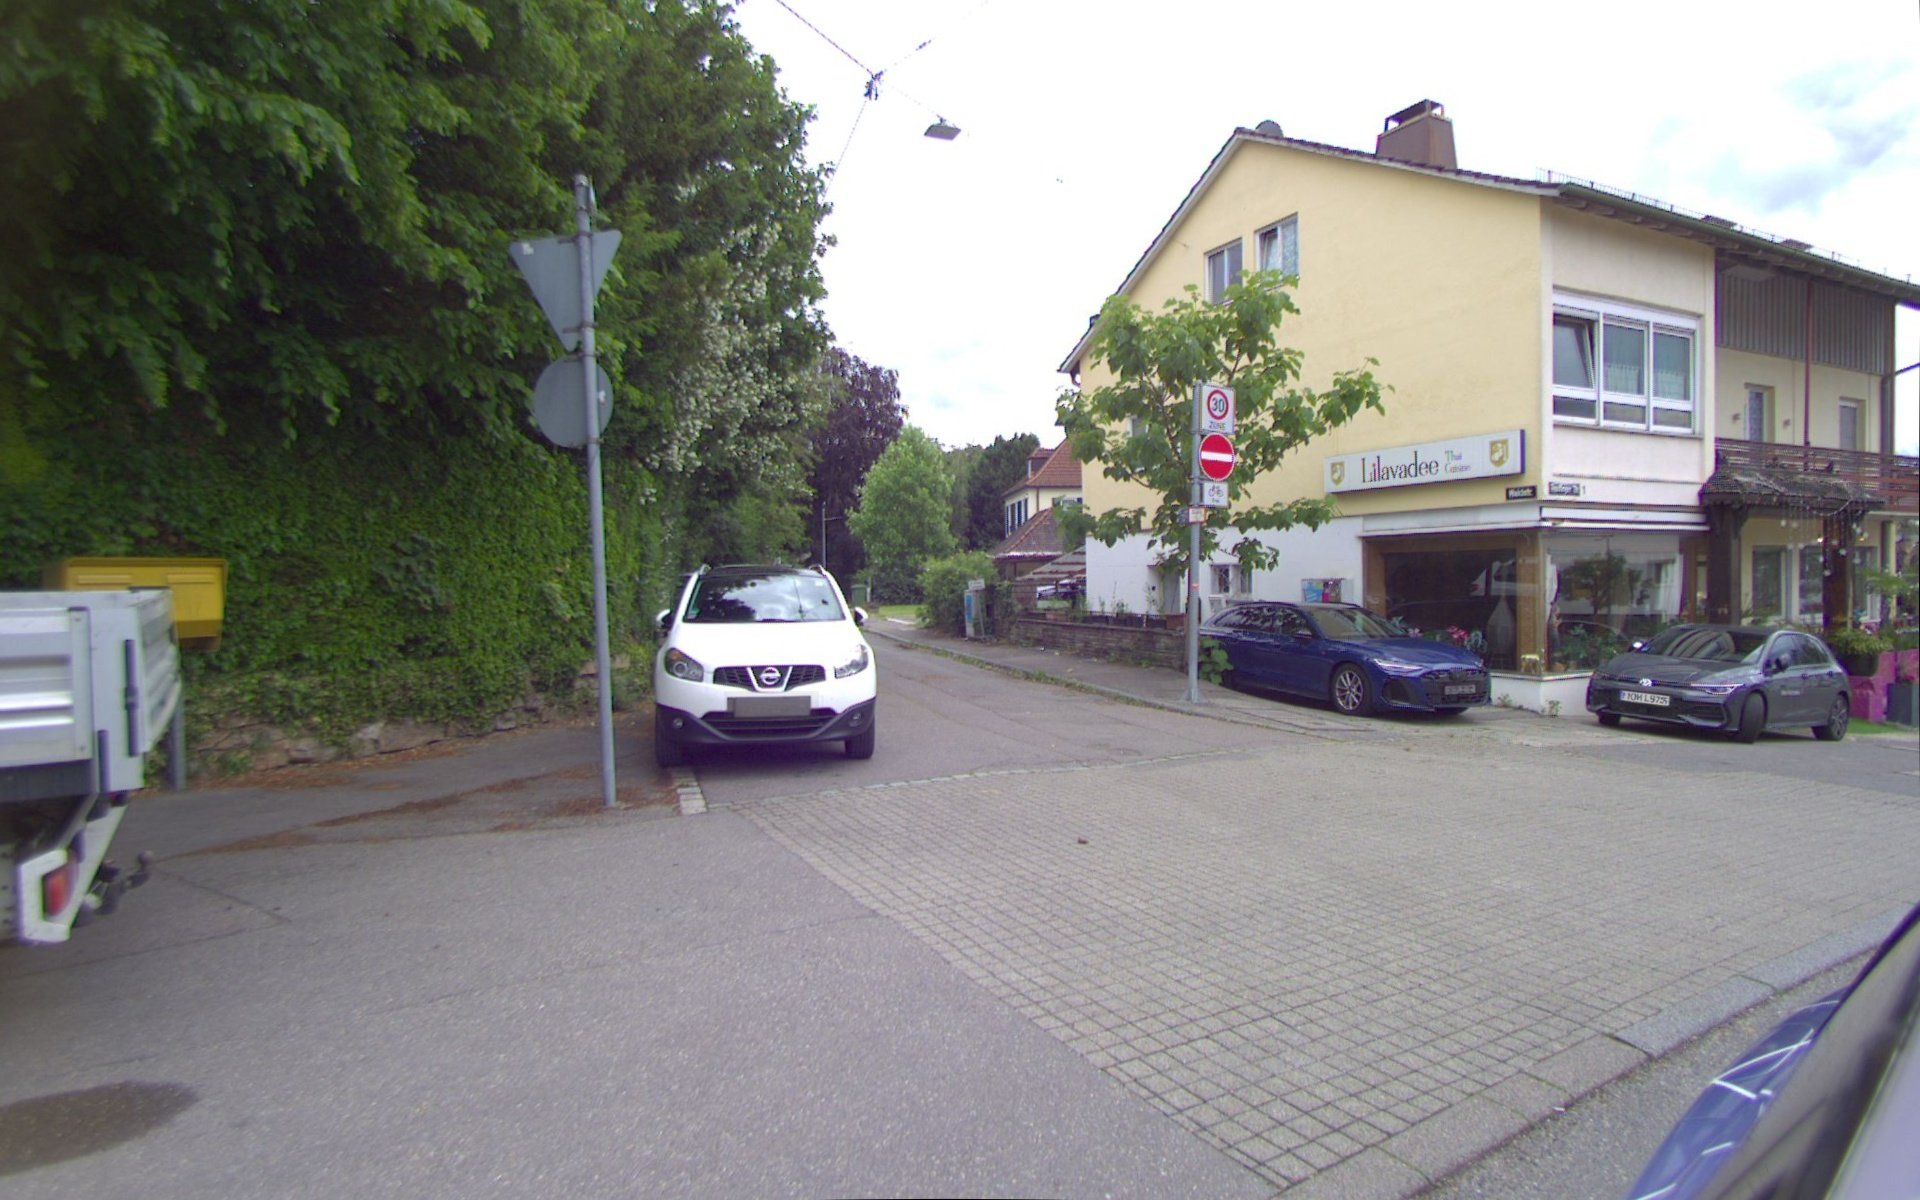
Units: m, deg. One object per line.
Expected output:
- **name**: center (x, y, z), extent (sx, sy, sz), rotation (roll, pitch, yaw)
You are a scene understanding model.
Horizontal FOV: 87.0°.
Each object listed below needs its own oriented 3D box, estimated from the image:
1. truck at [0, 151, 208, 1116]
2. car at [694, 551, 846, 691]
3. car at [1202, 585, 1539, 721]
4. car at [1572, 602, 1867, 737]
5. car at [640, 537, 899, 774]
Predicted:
- **truck**: center (-5.242, 0.102, 1.899), extent (6.073, 2.381, 2.404), rotation (-1, 1, -36)
- **car**: center (-2.759, 0.204, 14.383), extent (1.829, 1.681, 4.076), rotation (0, 1, -13)
- **car**: center (5.474, 0.628, 14.155), extent (1.891, 1.548, 4.238), rotation (3, 0, -22)
- **car**: center (10.109, 0.905, 13.416), extent (3.806, 1.512, 1.876), rotation (4, -1, -32)
- **car**: center (-1.788, 0.356, 9.281), extent (1.829, 1.660, 4.075), rotation (0, 1, -12)
